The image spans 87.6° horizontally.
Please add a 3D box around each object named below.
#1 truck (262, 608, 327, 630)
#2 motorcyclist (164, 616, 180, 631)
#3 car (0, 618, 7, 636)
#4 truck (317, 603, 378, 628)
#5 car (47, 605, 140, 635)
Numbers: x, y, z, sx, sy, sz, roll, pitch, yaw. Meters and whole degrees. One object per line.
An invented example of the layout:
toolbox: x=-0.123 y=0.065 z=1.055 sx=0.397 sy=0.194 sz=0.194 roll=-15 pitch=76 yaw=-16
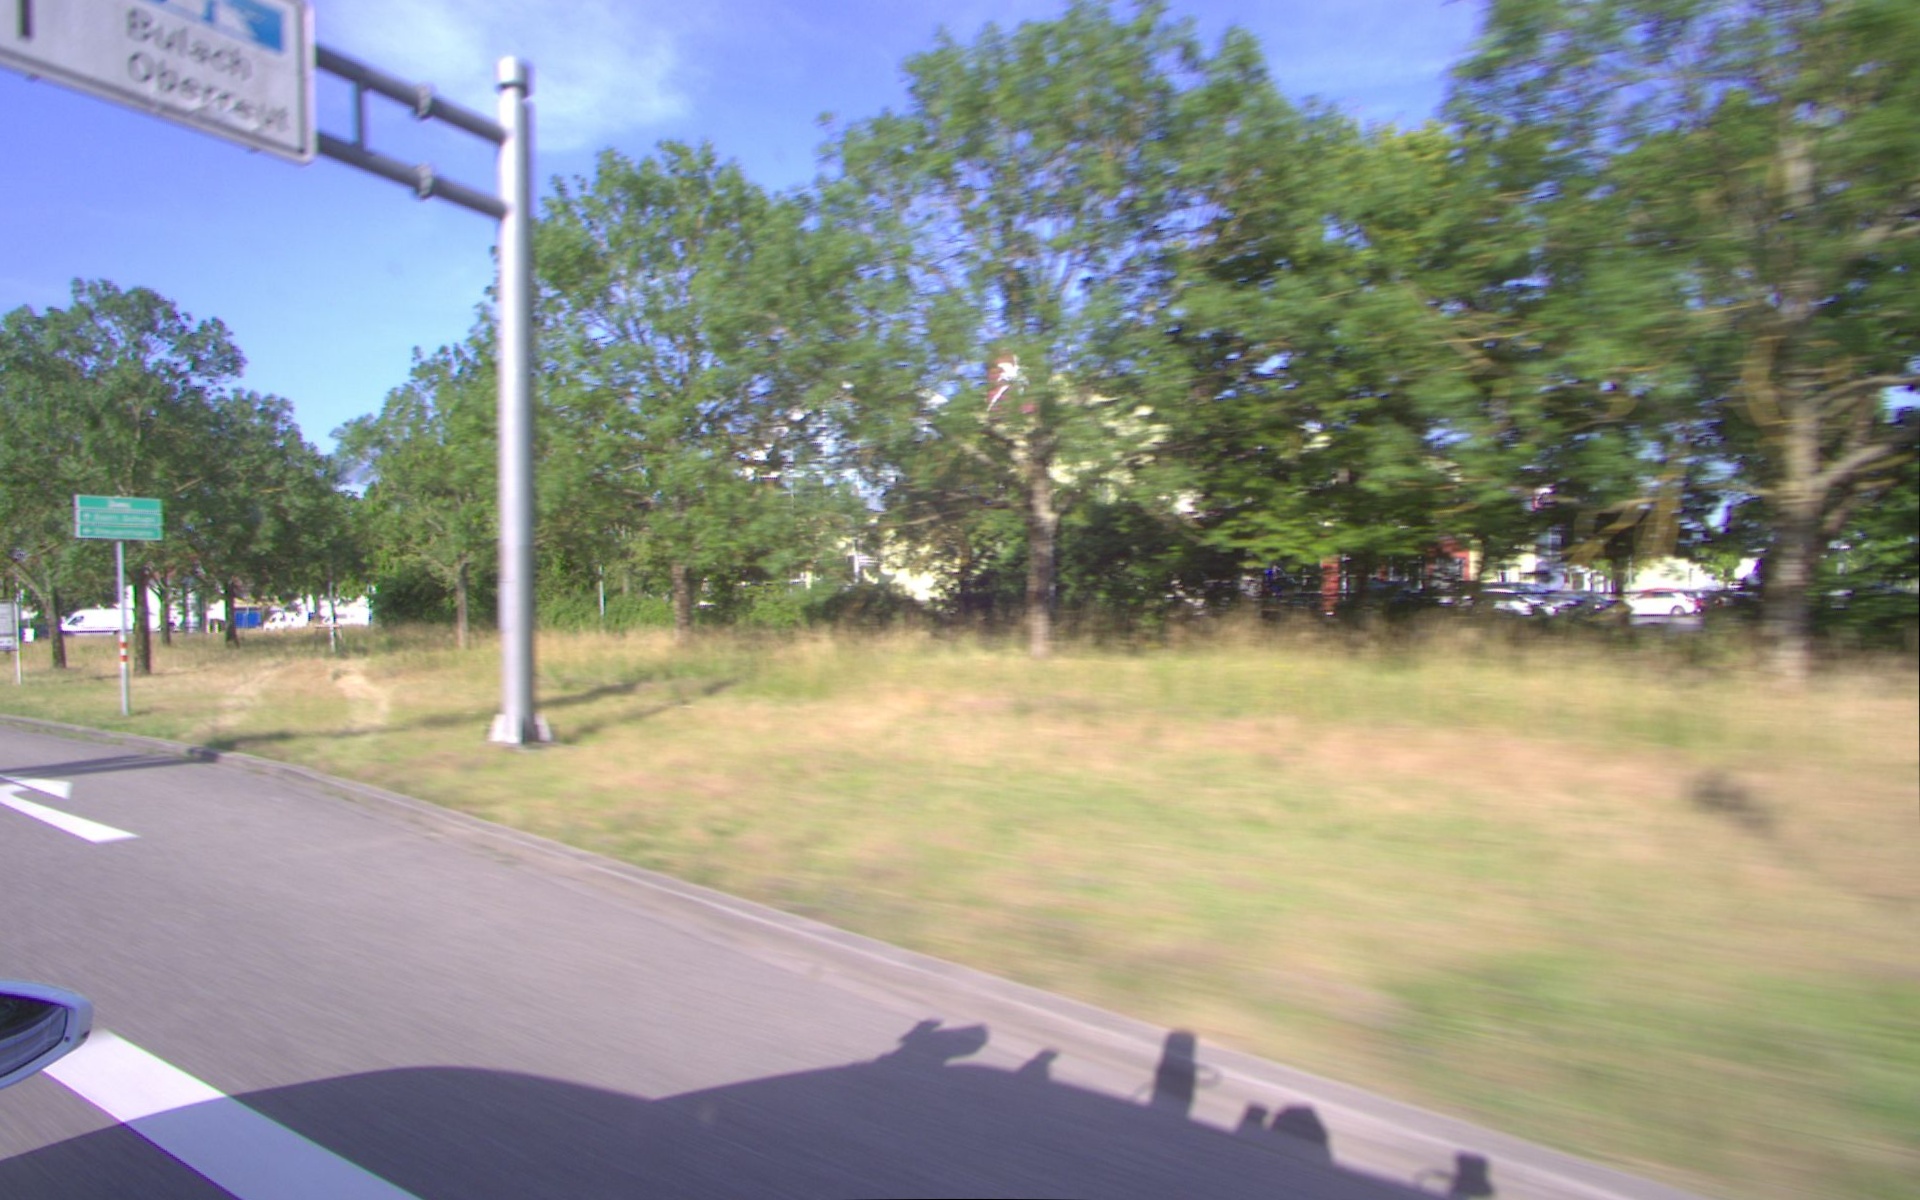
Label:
truck: x=-75.986 y=2.151 z=114.334 sx=6.235 sy=2.557 sz=2.277 roll=0 pitch=0 yaw=8
motorcyclist: x=-73.532 y=2.193 z=93.473 sx=0.672 sy=1.369 sz=1.060 roll=0 pitch=0 yaw=42
car: x=-83.318 y=2.310 z=83.829 sx=1.820 sy=1.583 sz=5.066 roll=-1 pitch=0 yaw=43
truck: x=-72.950 y=1.833 z=119.317 sx=5.961 sy=2.892 sz=1.896 roll=-1 pitch=0 yaw=-3
car: x=-77.807 y=1.759 z=90.003 sx=1.978 sy=2.617 sz=6.174 roll=-1 pitch=0 yaw=43
